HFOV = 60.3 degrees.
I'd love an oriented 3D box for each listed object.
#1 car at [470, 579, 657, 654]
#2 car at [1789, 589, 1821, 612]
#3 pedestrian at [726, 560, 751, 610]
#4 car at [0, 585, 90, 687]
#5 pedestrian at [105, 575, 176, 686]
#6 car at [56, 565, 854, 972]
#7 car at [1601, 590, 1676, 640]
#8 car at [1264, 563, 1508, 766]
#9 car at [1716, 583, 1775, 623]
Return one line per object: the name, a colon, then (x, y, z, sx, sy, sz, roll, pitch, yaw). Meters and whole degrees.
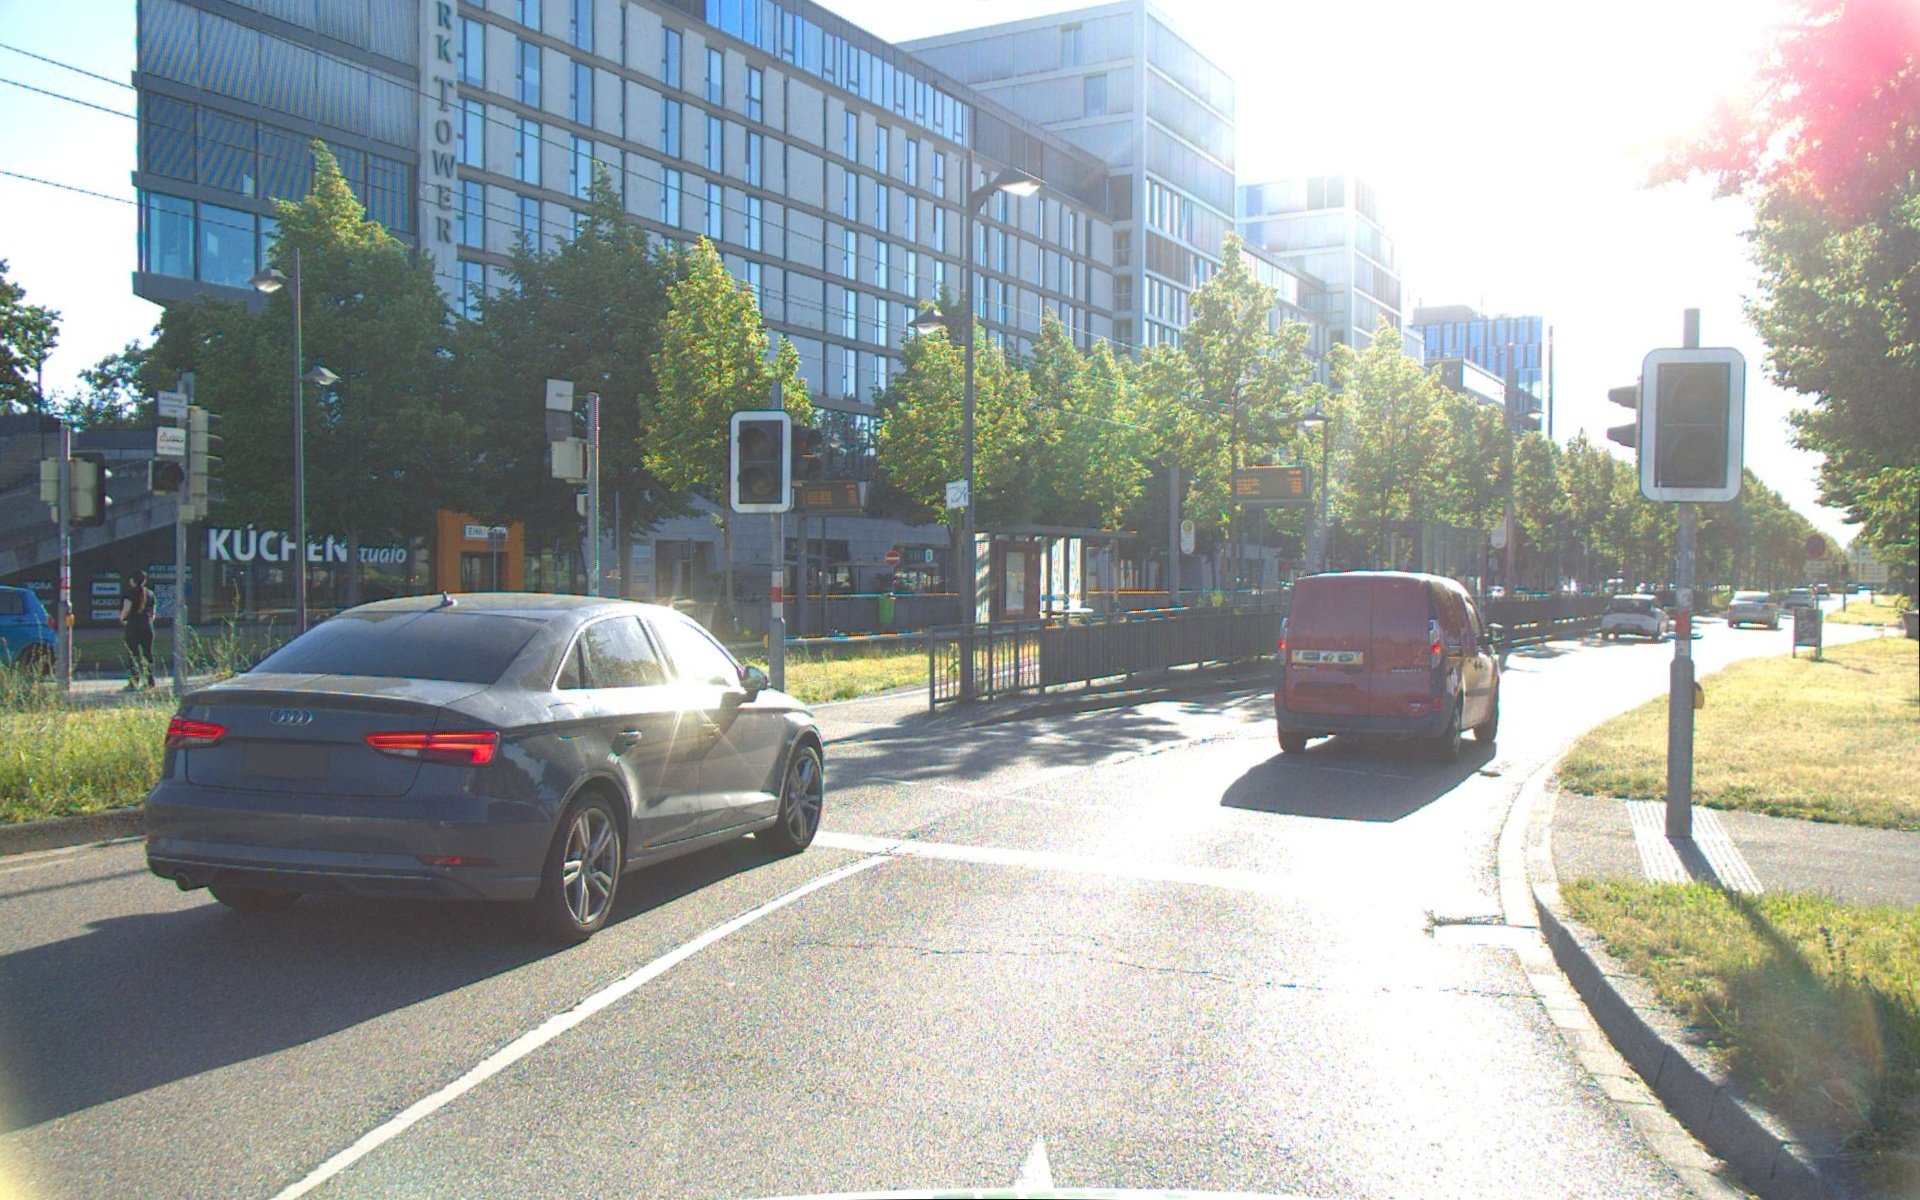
car: (-8.983, 0.343, 37.743, 1.899, 1.602, 3.967, 1, 0, 32)
car: (61.489, 0.017, 120.299, 1.956, 1.602, 4.401, 0, 1, 29)
pedestrian: (-9.173, -0.626, 68.614, 0.626, 2.049, 0.832, 1, 1, 31)
car: (-16.168, 0.552, 26.042, 1.899, 1.602, 3.966, 1, 0, 32)
pedestrian: (-11.254, 0.404, 22.717, 0.543, 1.491, 0.676, 1, 0, 27)
car: (-2.019, 0.641, 8.132, 1.723, 1.404, 4.361, 1, -1, 14)
car: (22.172, 0.470, 53.979, 1.769, 1.486, 3.803, 2, 2, 30)
car: (4.529, 0.580, 17.191, 1.767, 1.845, 3.806, 1, 0, 25)
car: (33.248, 0.095, 69.963, 1.956, 1.602, 4.401, 0, 1, 29)
